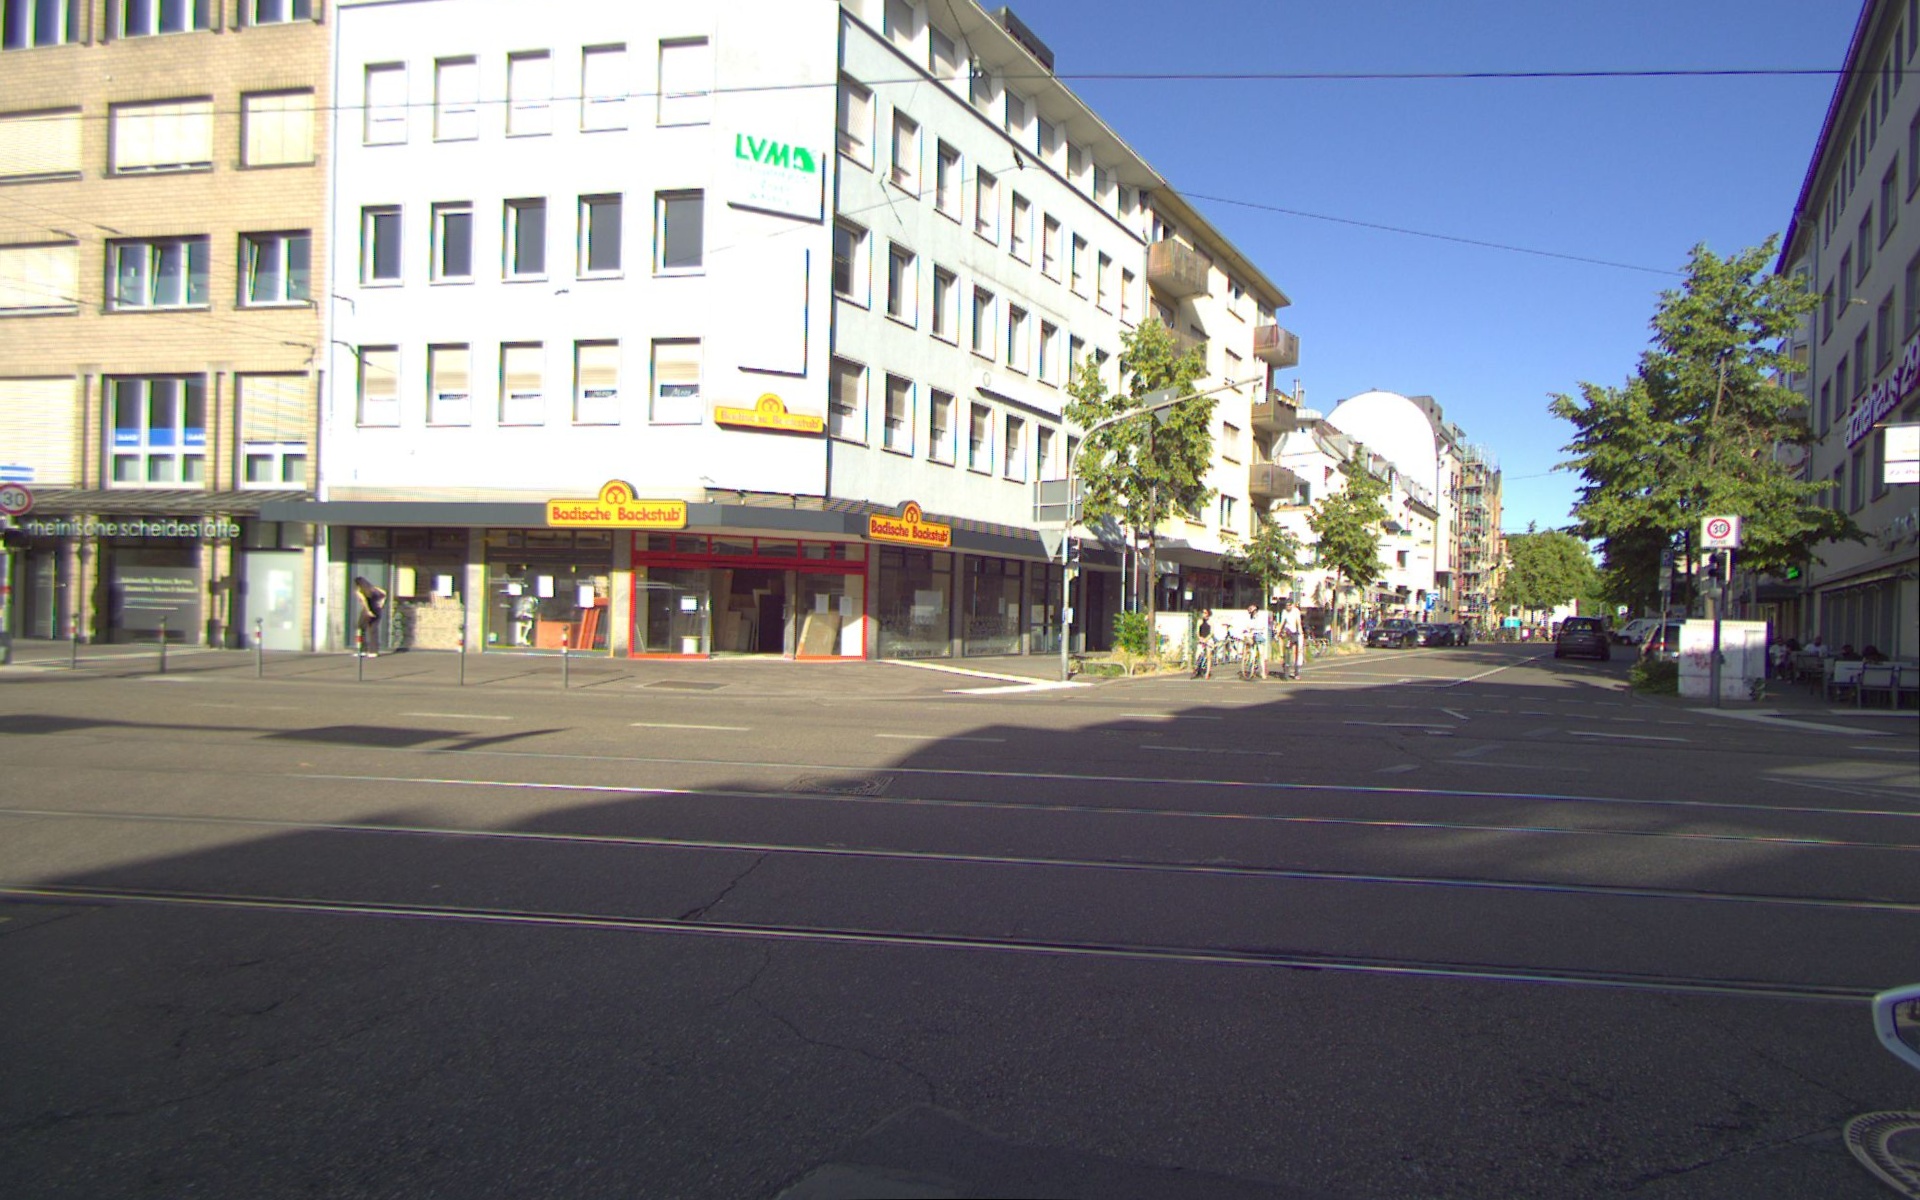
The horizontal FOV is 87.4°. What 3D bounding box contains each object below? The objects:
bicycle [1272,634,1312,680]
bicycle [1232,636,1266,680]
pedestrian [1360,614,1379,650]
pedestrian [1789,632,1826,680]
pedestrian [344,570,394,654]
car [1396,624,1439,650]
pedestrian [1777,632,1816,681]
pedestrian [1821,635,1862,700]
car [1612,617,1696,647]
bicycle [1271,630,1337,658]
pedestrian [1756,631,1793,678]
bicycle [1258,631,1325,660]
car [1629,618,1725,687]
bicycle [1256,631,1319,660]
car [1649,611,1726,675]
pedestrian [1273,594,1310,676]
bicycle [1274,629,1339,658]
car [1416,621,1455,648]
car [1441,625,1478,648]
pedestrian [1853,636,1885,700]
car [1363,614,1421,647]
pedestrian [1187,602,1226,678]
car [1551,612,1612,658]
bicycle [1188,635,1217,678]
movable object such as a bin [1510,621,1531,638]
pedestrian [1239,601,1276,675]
[{"bbox_3d":[7.899,1.340,23.861,0.746,1.021,1.724,-2,-2,23],"label":"bicycle"},{"bbox_3d":[6.979,1.369,24.200,0.543,0.981,1.794,1,-1,23],"label":"bicycle"},{"bbox_3d":[23.213,1.820,56.994,0.936,2.040,1.089,-2,-1,22],"label":"pedestrian"},{"bbox_3d":[25.279,1.647,29.981,0.721,1.378,0.956,1,0,34],"label":"pedestrian"},{"bbox_3d":[-12.421,0.257,21.109,0.550,1.732,0.710,1,0,32],"label":"pedestrian"},{"bbox_3d":[27.373,2.183,60.029,1.761,1.421,3.896,2,0,33],"label":"car"},{"bbox_3d":[24.260,1.619,29.155,0.720,1.365,1.057,1,0,32],"label":"pedestrian"},{"bbox_3d":[18.796,1.428,21.428,0.578,1.330,0.559,1,0,35],"label":"pedestrian"},{"bbox_3d":[54.258,2.453,78.659,5.318,2.174,1.994,1,-1,34],"label":"car"},{"bbox_3d":[13.343,1.693,38.964,2.352,0.991,0.655,1,0,25],"label":"bicycle"},{"bbox_3d":[24.561,1.632,30.300,0.699,1.365,1.057,1,0,31],"label":"pedestrian"},{"bbox_3d":[12.520,1.697,37.937,2.358,0.971,0.545,1,0,23],"label":"bicycle"},{"bbox_3d":[19.710,1.387,27.736,1.974,1.658,4.275,2,0,35],"label":"car"},{"bbox_3d":[12.161,1.671,37.297,2.184,0.971,0.655,1,0,23],"label":"bicycle"},{"bbox_3d":[23.654,1.367,32.793,1.878,1.877,4.275,2,0,35],"label":"car"},{"bbox_3d":[7.883,0.816,23.846,0.765,1.891,1.001,-1,-1,20],"label":"pedestrian"},{"bbox_3d":[13.701,1.706,39.730,2.359,1.019,0.655,1,0,25],"label":"bicycle"},{"bbox_3d":[30.415,2.175,64.185,1.695,1.631,3.587,1,0,34],"label":"car"},{"bbox_3d":[33.734,2.431,67.751,1.761,1.421,3.896,2,0,33],"label":"car"},{"bbox_3d":[19.678,1.456,21.752,0.482,1.340,0.650,1,0,42],"label":"pedestrian"},{"bbox_3d":[23.120,1.610,53.712,1.967,1.619,3.986,3,0,36],"label":"car"},{"bbox_3d":[5.909,0.943,24.031,0.777,1.735,0.654,2,1,20],"label":"pedestrian"},{"bbox_3d":[25.688,1.418,41.450,1.878,1.756,4.275,2,0,35],"label":"car"},{"bbox_3d":[5.881,1.344,24.331,0.472,0.968,1.455,1,-1,21],"label":"bicycle"},{"bbox_3d":[46.744,2.458,83.805,1.287,1.426,1.071,1,0,18],"label":"movable object such as a bin"},{"bbox_3d":[7.274,0.918,24.530,0.765,1.751,0.559,2,1,21],"label":"pedestrian"}]
